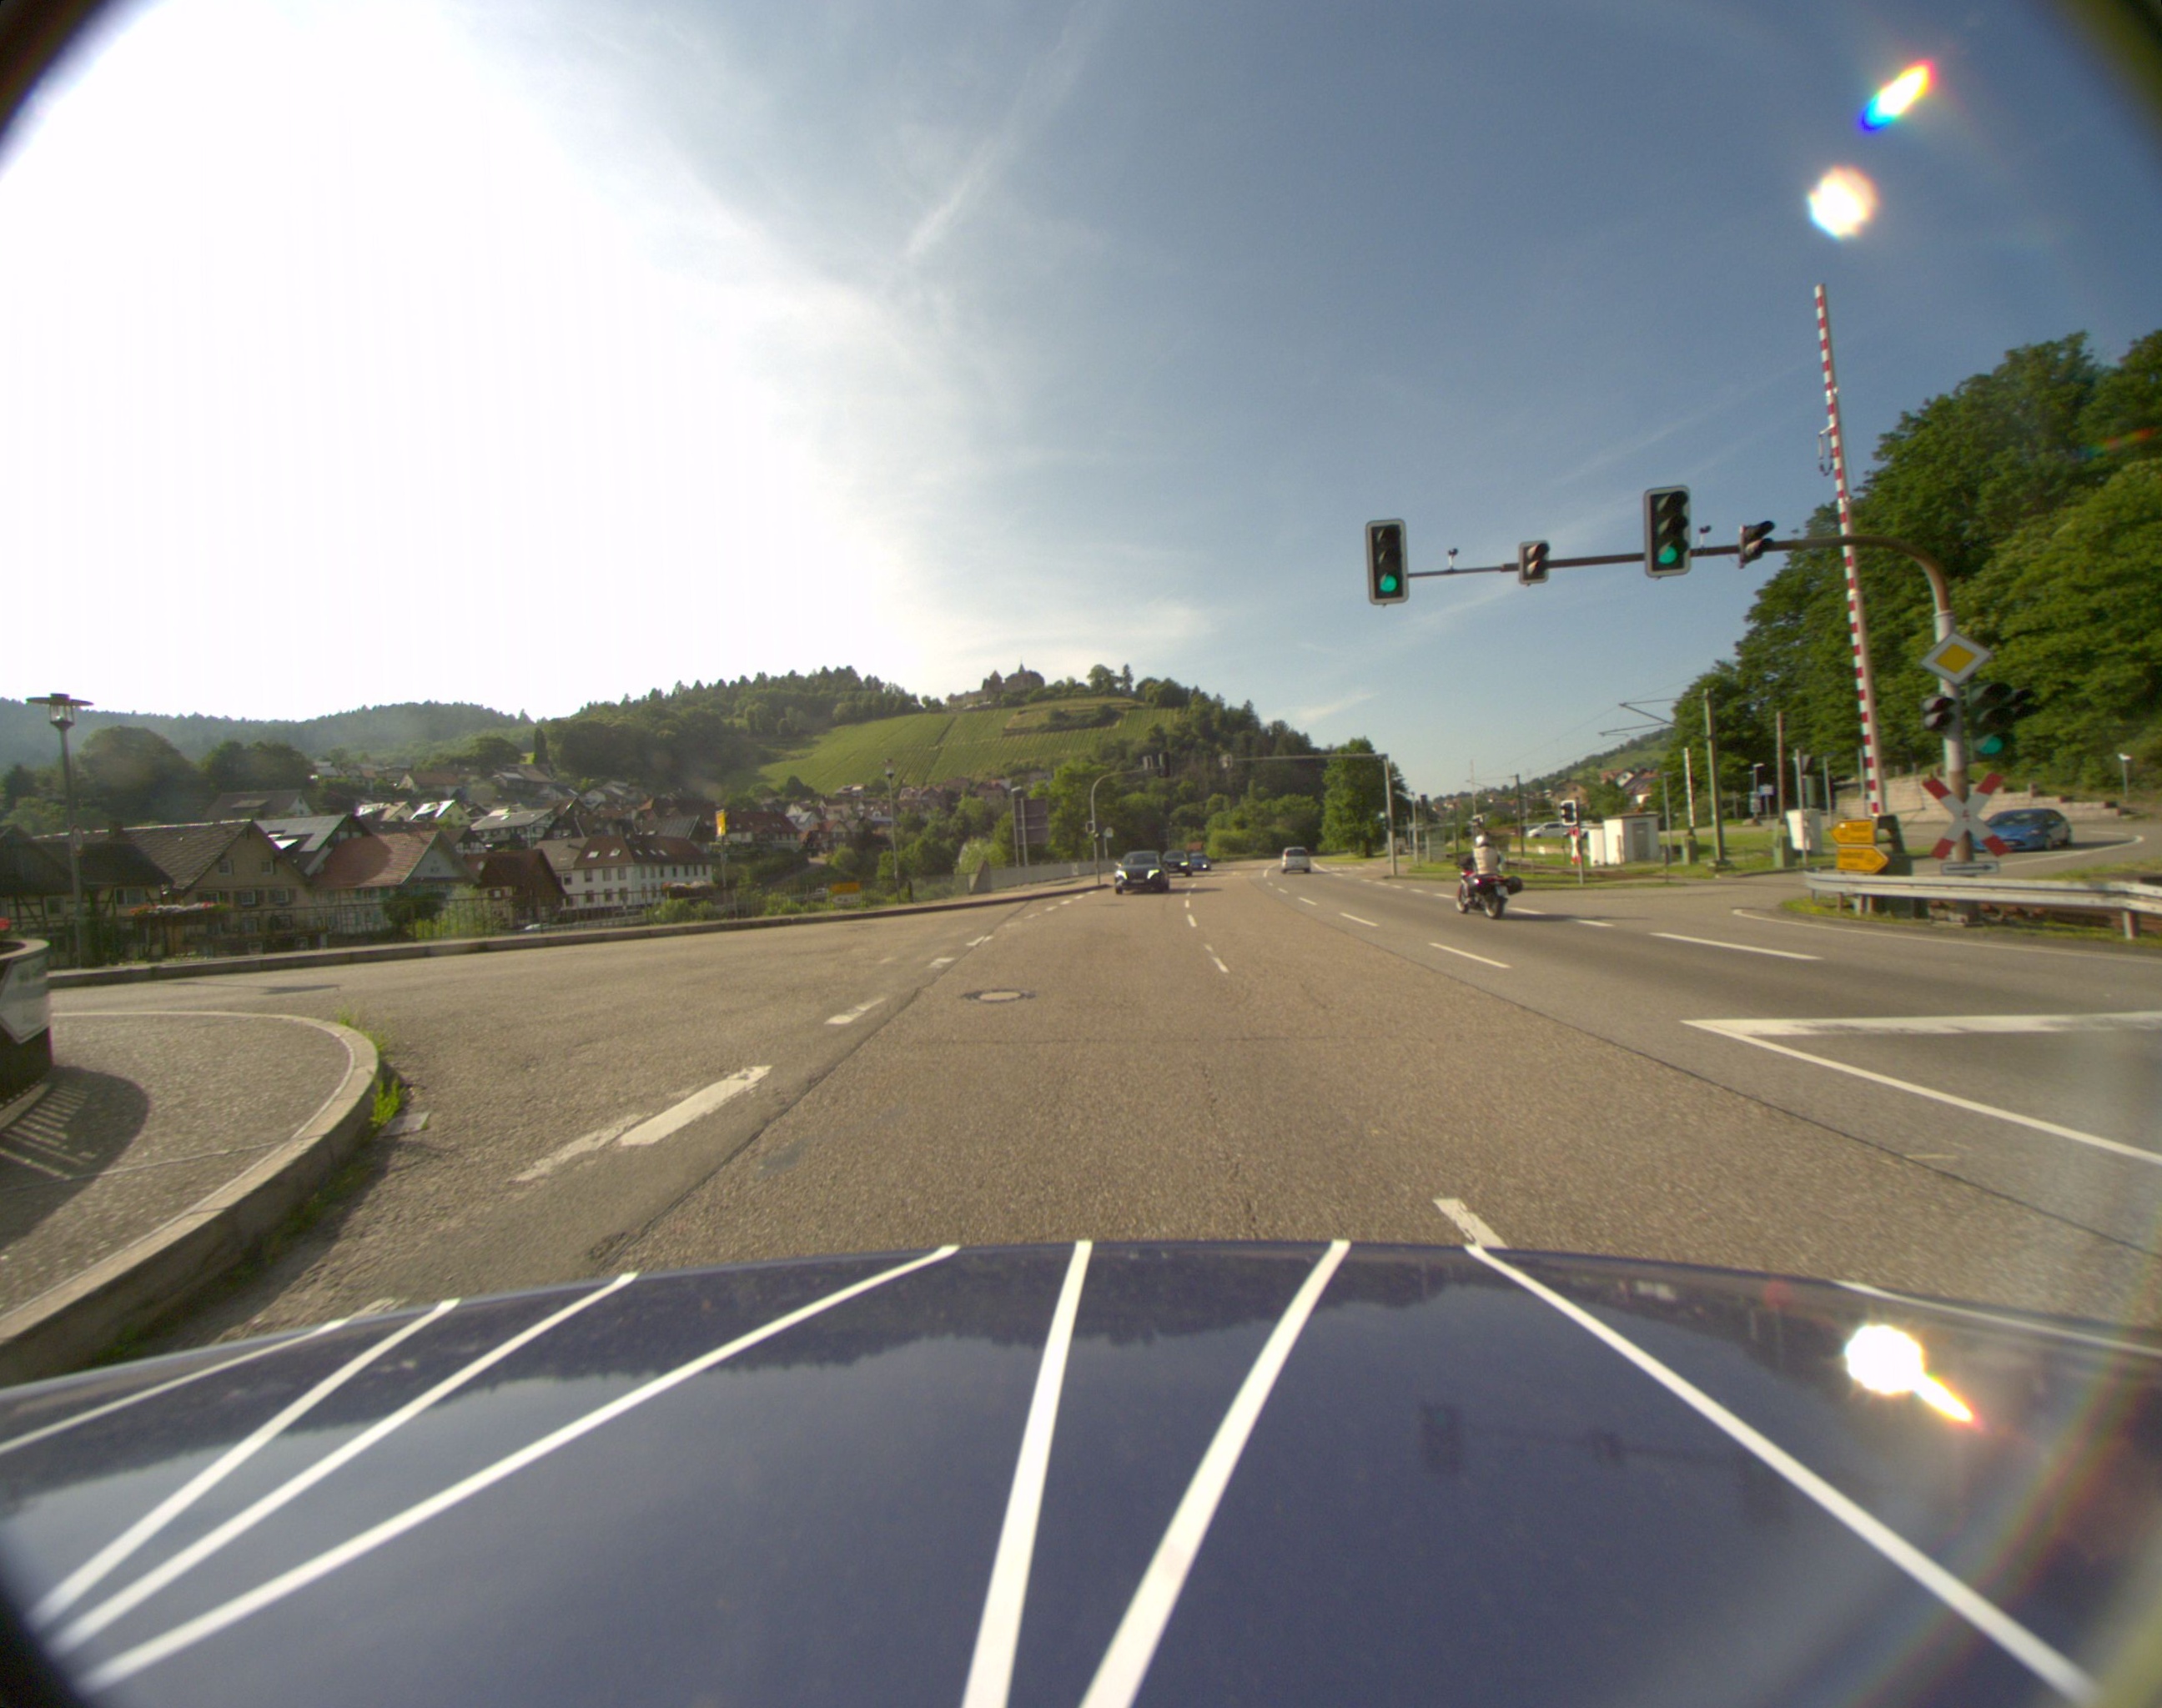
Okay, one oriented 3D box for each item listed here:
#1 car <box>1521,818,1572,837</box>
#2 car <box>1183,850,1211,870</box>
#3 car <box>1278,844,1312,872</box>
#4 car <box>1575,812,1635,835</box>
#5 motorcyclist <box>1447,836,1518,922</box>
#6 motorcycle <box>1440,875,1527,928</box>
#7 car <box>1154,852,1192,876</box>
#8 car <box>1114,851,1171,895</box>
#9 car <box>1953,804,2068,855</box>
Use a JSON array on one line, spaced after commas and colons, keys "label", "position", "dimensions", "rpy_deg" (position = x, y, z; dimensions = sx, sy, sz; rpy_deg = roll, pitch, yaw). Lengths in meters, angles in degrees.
[{"label": "car", "position": [50.575, -2.876, 82.578], "dimensions": [4.443, 1.793, 2.003], "rpy_deg": [-2, 0, 23]}, {"label": "car", "position": [9.250, 0.452, 60.525], "dimensions": [1.866, 1.482, 4.004], "rpy_deg": [-2, 0, 13]}, {"label": "car", "position": [13.537, 0.238, 48.213], "dimensions": [1.695, 1.647, 4.175], "rpy_deg": [-2, 0, 12]}, {"label": "car", "position": [45.284, -2.593, 65.734], "dimensions": [3.991, 1.739, 1.643], "rpy_deg": [-2, 0, 22]}, {"label": "motorcyclist", "position": [8.283, 0.517, 15.725], "dimensions": [1.008, 1.705, 0.866], "rpy_deg": [-2, 0, 7]}, {"label": "motorcycle", "position": [8.303, 0.949, 15.802], "dimensions": [0.826, 0.948, 2.219], "rpy_deg": [-2, 0, 7]}, {"label": "car", "position": [5.846, 0.608, 47.894], "dimensions": [1.997, 1.384, 4.004], "rpy_deg": [-2, 0, 12]}, {"label": "car", "position": [2.512, 0.722, 30.306], "dimensions": [1.862, 1.576, 4.003], "rpy_deg": [-2, 0, 10]}, {"label": "car", "position": [33.933, -0.894, 27.741], "dimensions": [4.004, 1.500, 1.890], "rpy_deg": [-6, 2, -28]}]
